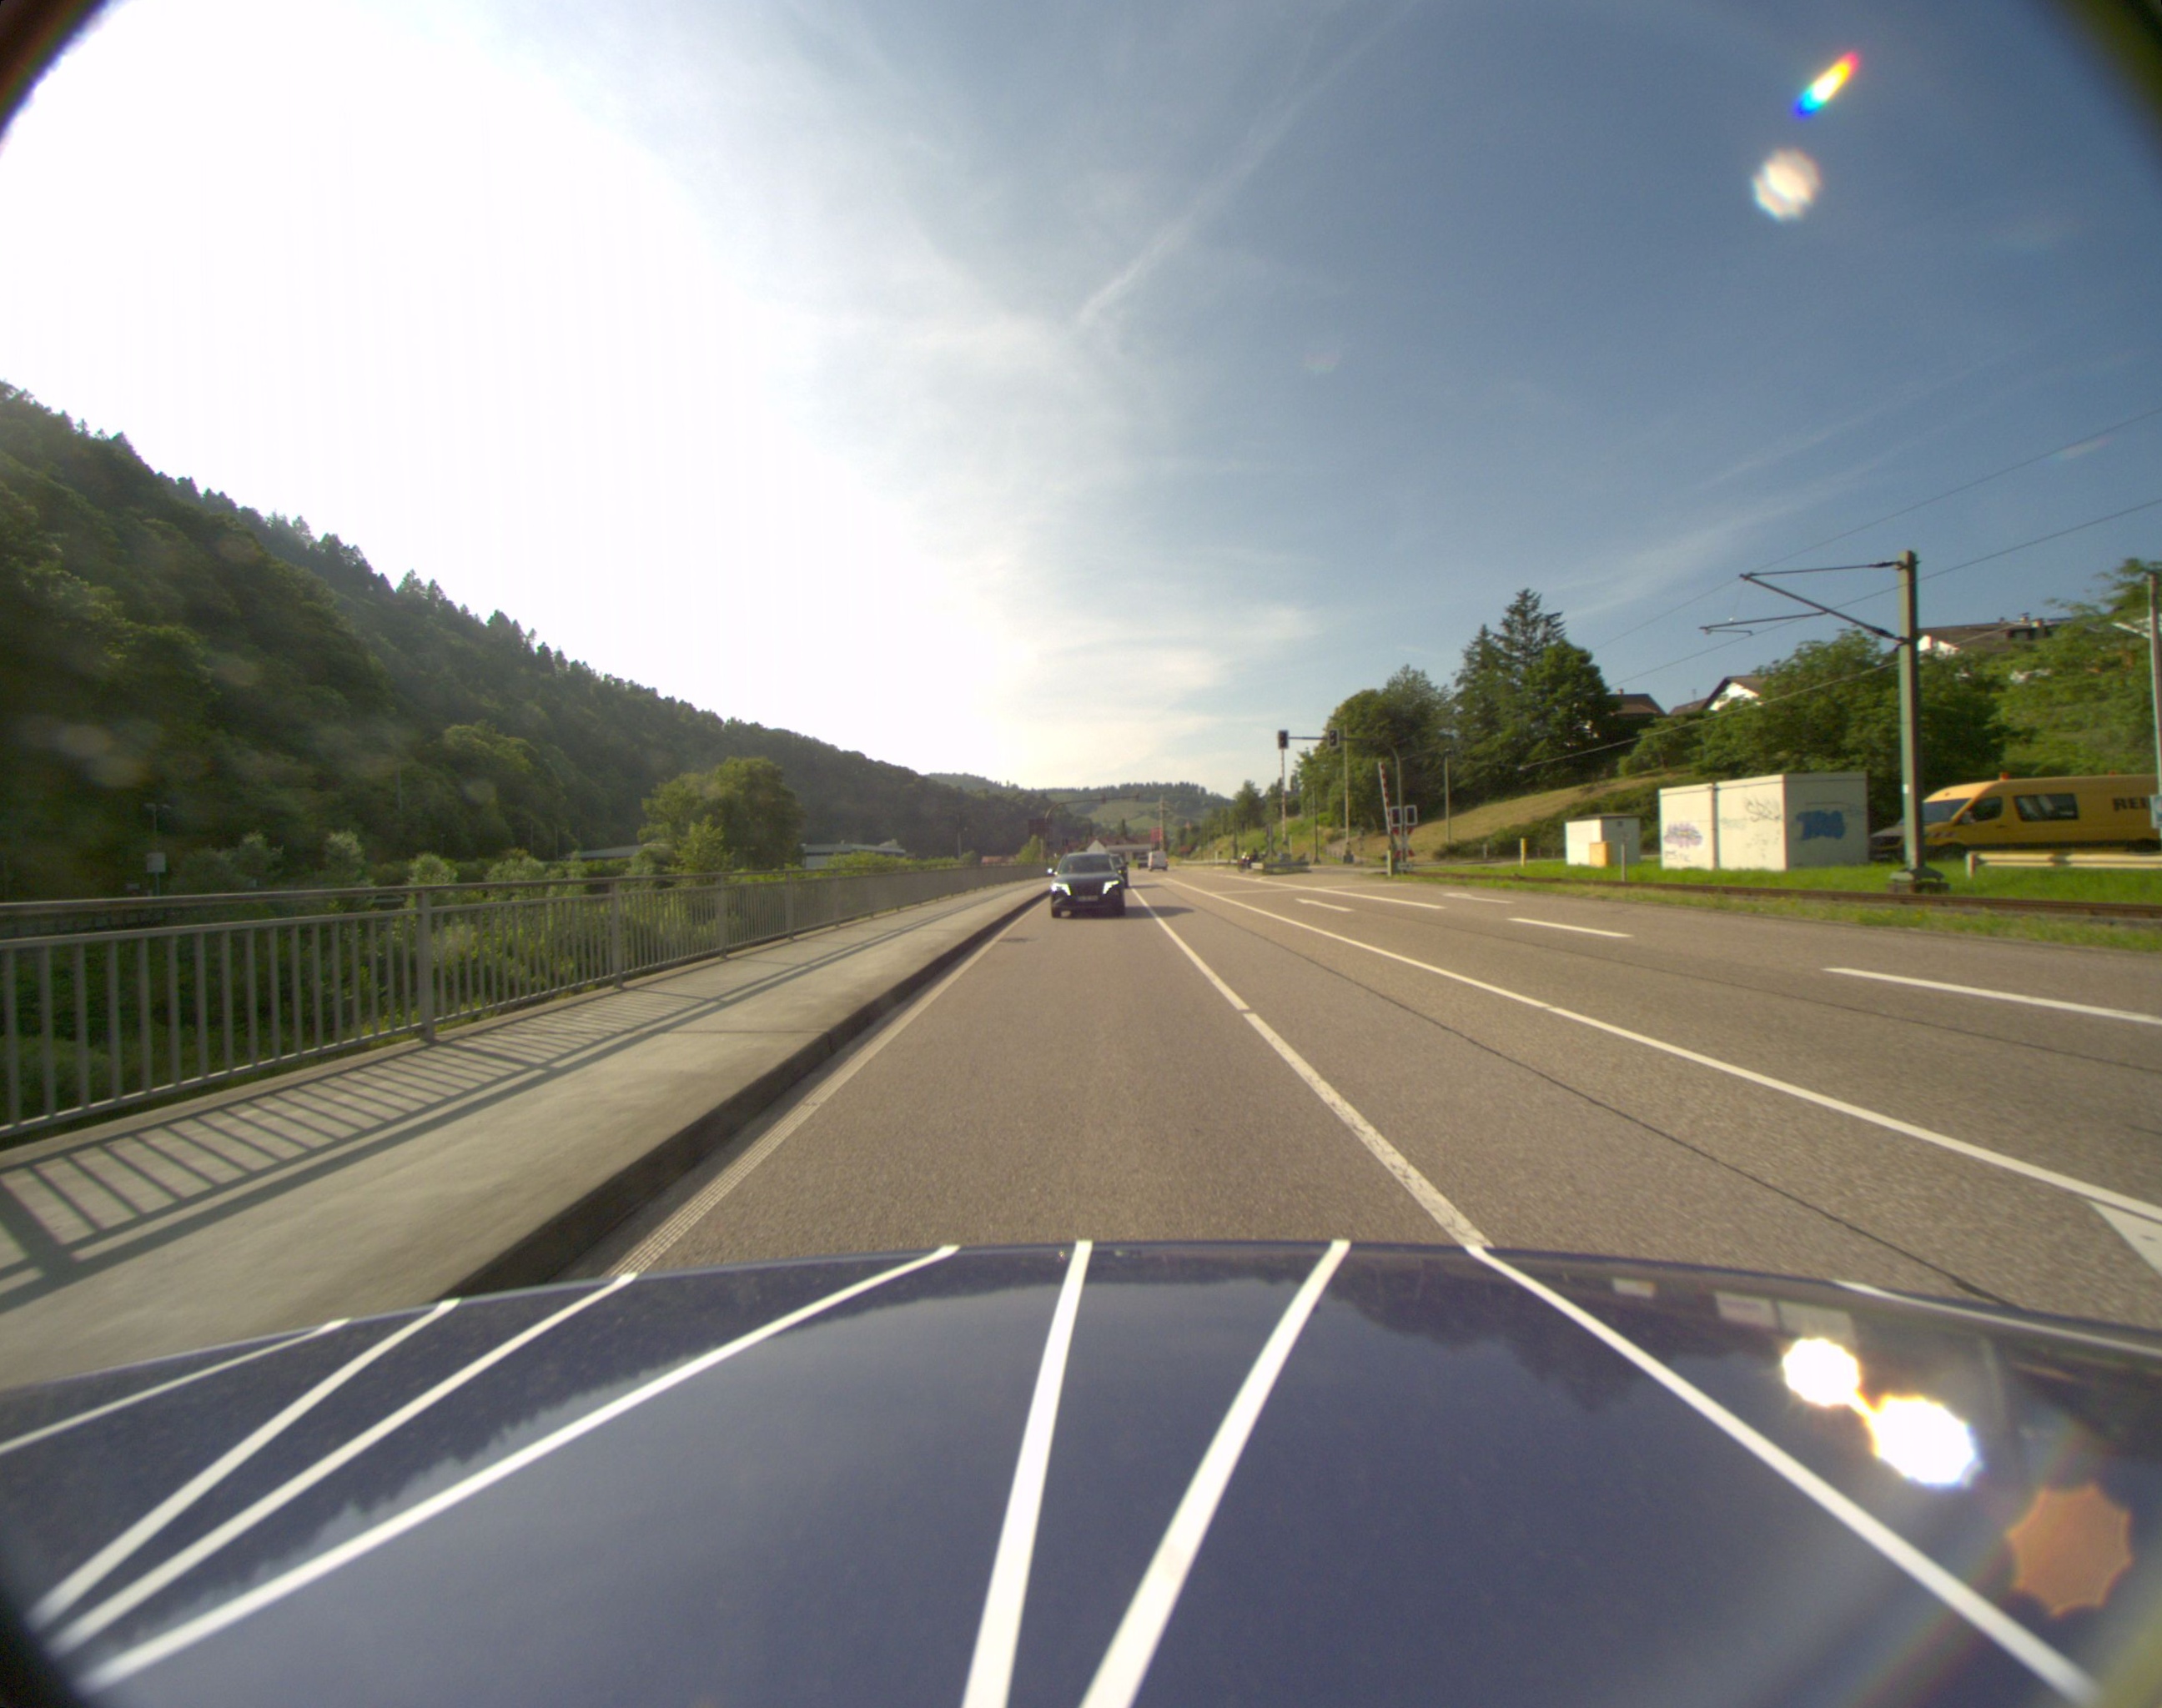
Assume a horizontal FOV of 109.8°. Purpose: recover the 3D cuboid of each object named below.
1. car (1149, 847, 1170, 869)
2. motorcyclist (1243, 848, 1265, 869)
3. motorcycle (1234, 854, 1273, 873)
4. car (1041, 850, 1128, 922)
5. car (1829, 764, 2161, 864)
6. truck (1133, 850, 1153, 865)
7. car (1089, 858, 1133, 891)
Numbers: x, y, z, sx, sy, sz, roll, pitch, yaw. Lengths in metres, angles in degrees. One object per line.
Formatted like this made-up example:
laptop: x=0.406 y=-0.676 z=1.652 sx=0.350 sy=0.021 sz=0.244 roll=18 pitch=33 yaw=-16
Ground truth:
car: x=9.455 y=0.483 z=91.406 sx=2.124 sy=2.422 sz=5.229 roll=-3 pitch=0 yaw=3
motorcyclist: x=13.057 y=0.349 z=57.262 sx=1.186 sy=1.535 sz=0.991 roll=-4 pitch=0 yaw=-12
motorcycle: x=12.987 y=0.694 z=57.246 sx=2.594 sy=1.261 sz=1.004 roll=-4 pitch=0 yaw=-12
car: x=0.250 y=0.791 z=20.717 sx=1.998 sy=1.660 sz=5.512 roll=-1 pitch=-1 yaw=4
car: x=27.366 y=-1.113 z=22.399 sx=7.076 sy=2.442 sz=2.951 roll=-3 pitch=0 yaw=11
truck: x=10.237 y=0.604 z=125.953 sx=2.453 sy=2.252 sz=6.280 roll=-3 pitch=0 yaw=-2
car: x=1.451 y=0.976 z=37.657 sx=1.919 sy=1.455 sz=4.000 roll=-3 pitch=0 yaw=-1
